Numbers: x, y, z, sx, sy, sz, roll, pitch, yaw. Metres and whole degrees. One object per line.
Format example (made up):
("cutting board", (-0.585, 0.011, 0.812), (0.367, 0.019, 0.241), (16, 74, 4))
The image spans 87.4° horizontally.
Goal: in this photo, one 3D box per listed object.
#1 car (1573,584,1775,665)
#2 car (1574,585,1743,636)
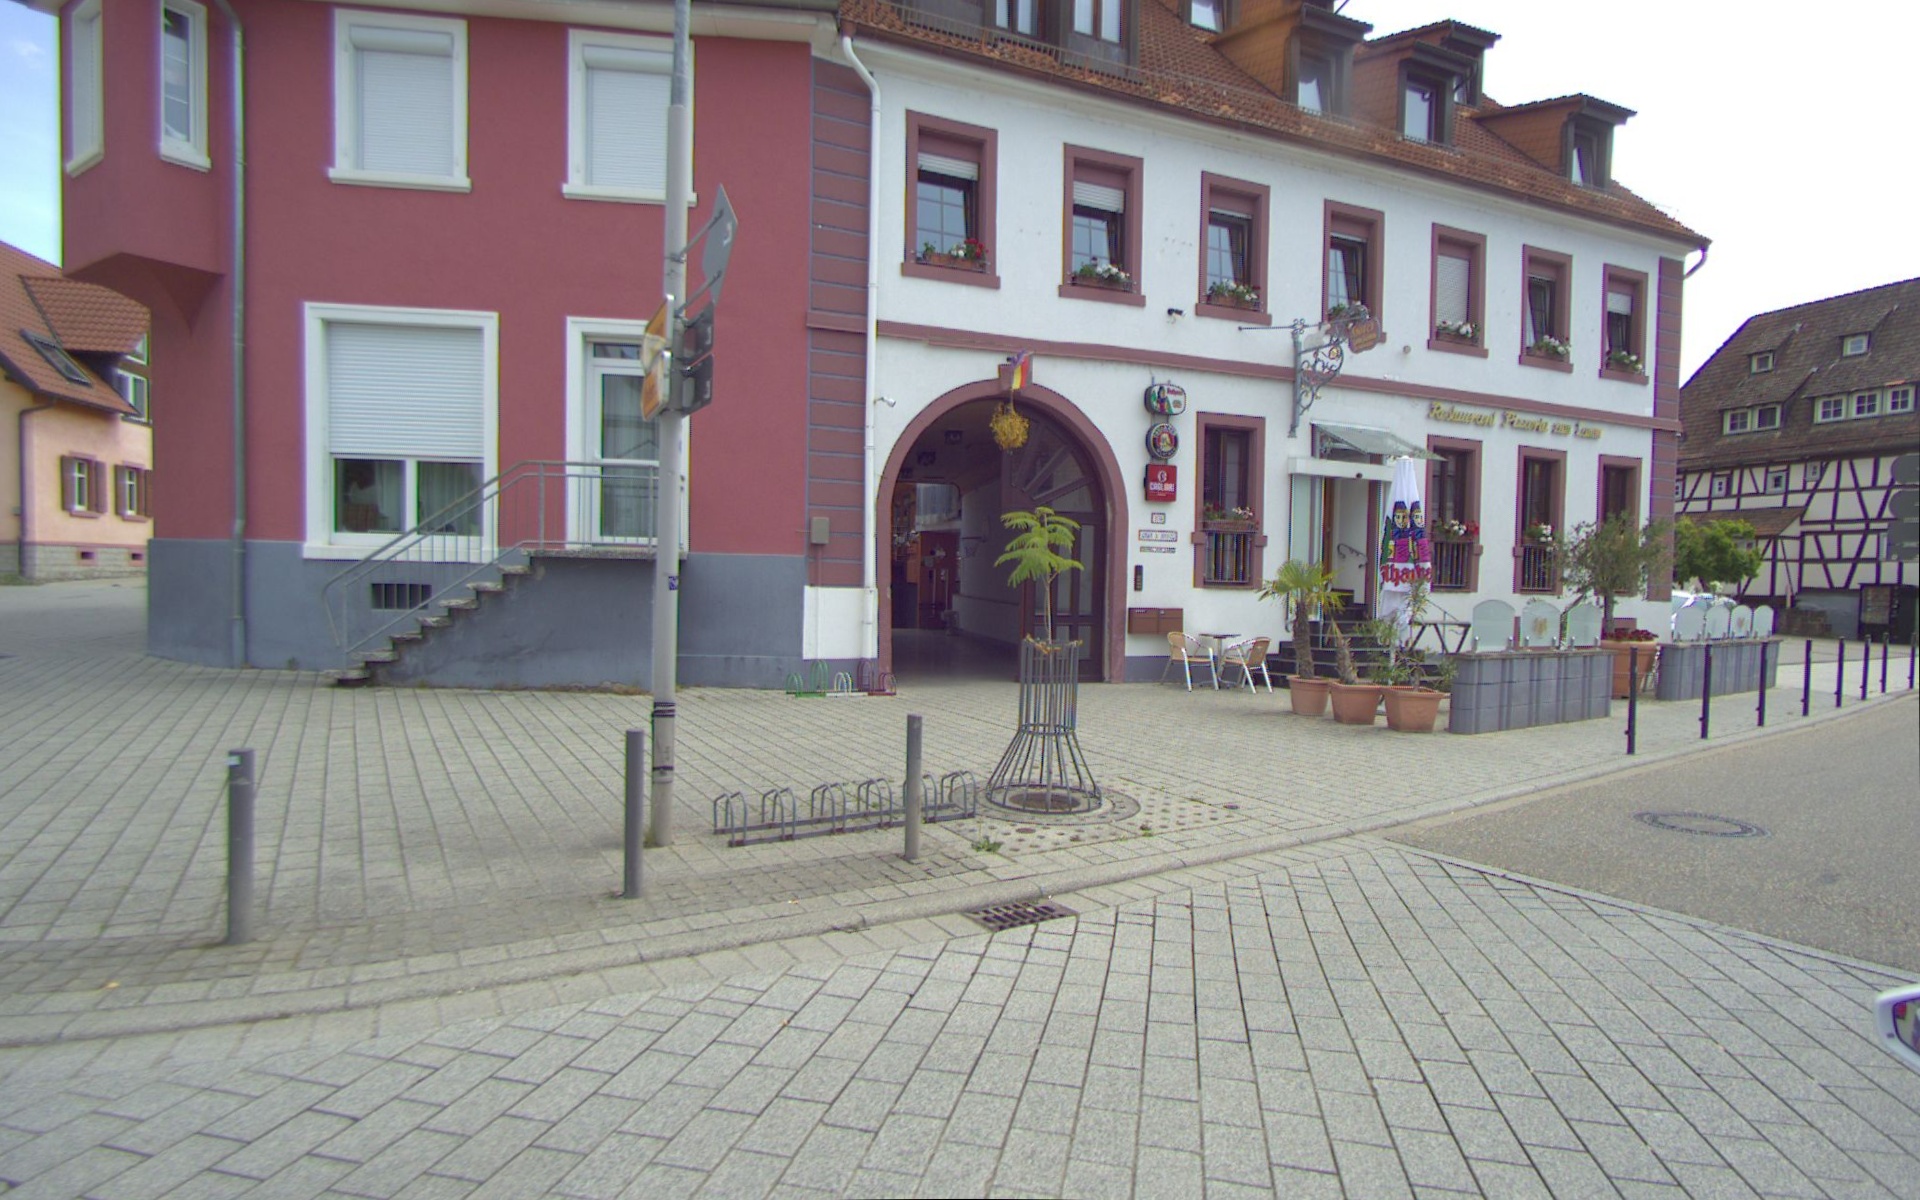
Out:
("car", (15.631, 0.514, 21.979), (4.220, 1.513, 1.751), (1, 5, -27))
("car", (24.250, 0.334, 35.078), (1.937, 1.408, 4.412), (1, 4, -25))
